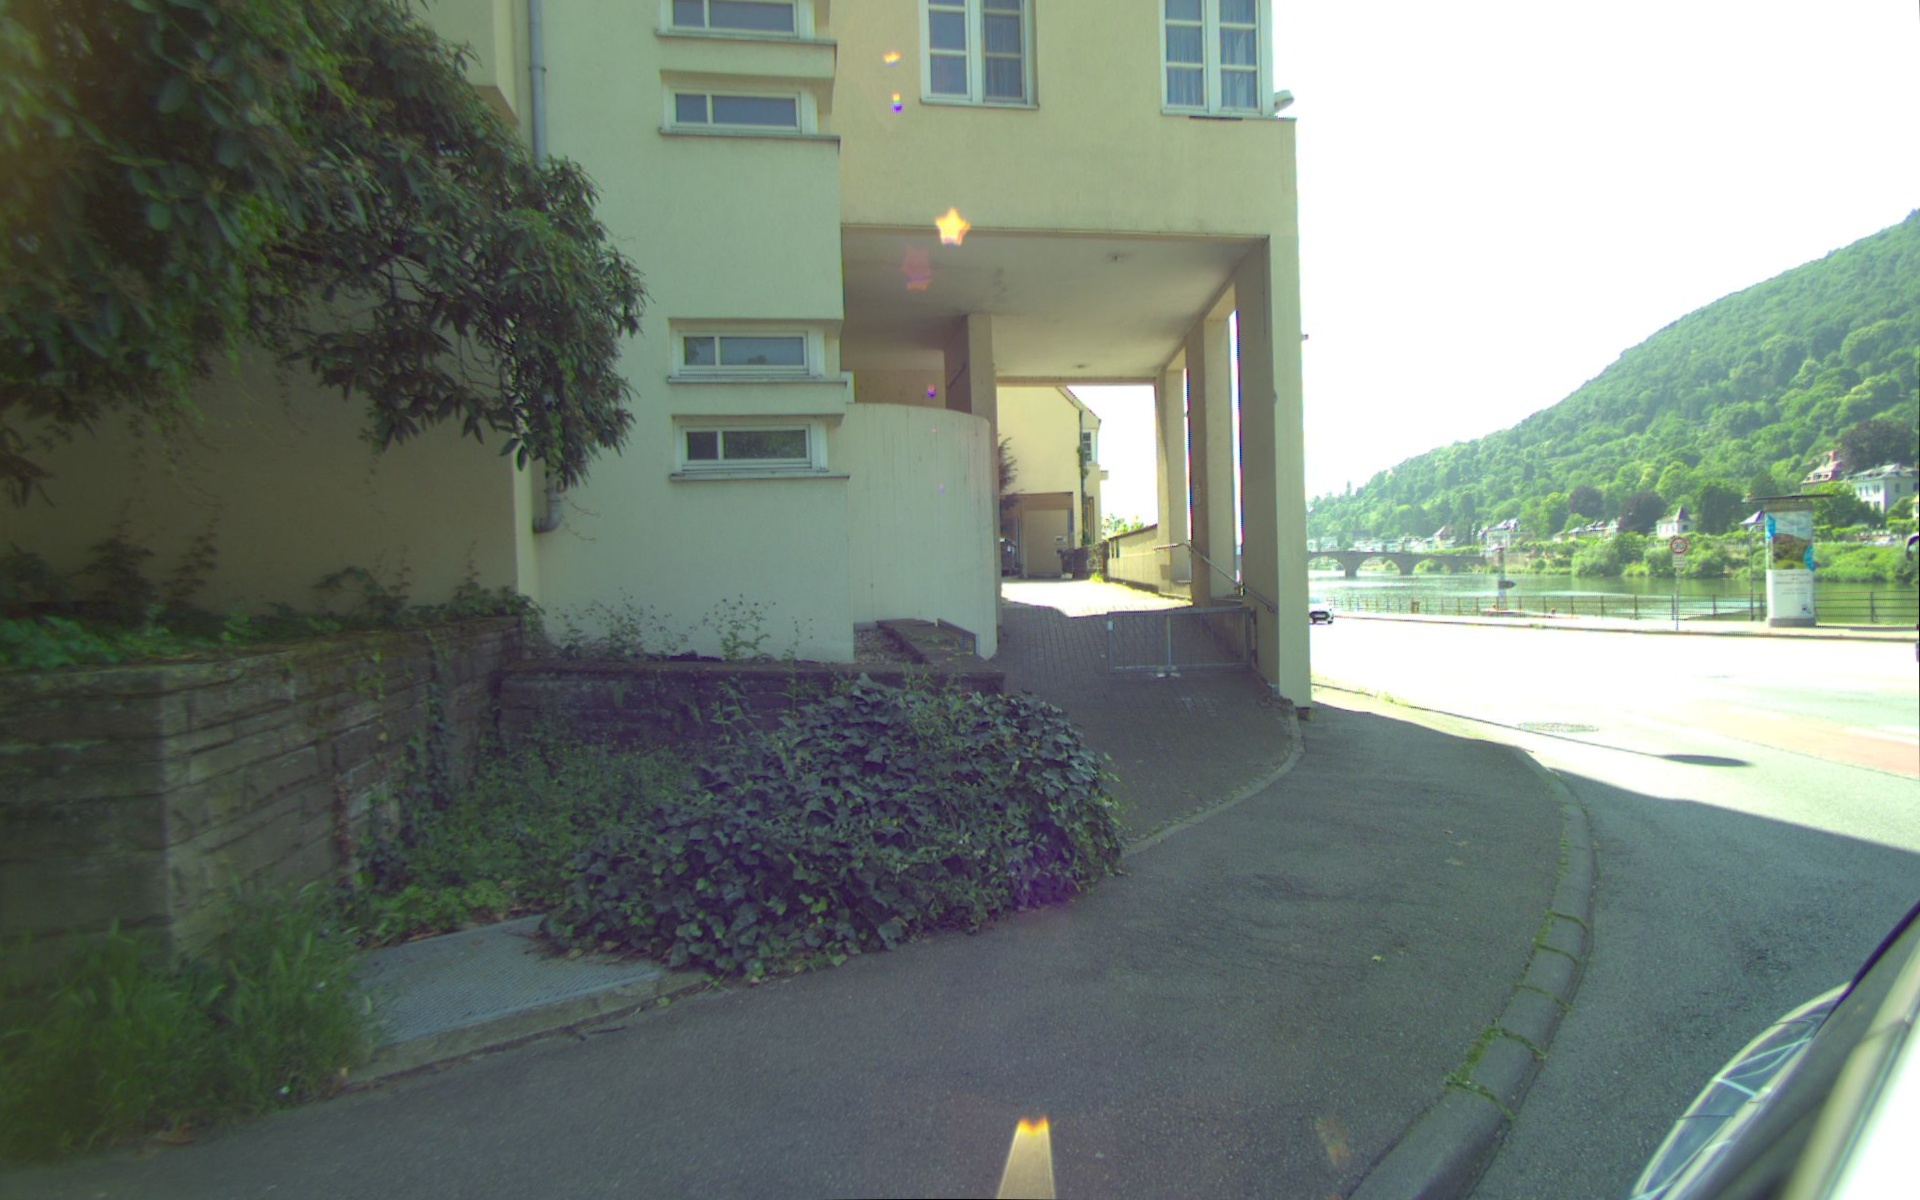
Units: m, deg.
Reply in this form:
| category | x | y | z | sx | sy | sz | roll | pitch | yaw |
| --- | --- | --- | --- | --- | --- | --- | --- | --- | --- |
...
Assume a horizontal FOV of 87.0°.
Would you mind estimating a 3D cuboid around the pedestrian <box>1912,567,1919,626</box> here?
| category | x | y | z | sx | sy | sz | roll | pitch | yaw |
| --- | --- | --- | --- | --- | --- | --- | --- | --- | --- |
| pedestrian | 27.067 | -0.098 | 27.971 | 0.691 | 1.641 | 0.817 | -1 | 0 | -4 |

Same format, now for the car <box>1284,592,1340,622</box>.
| category | x | y | z | sx | sy | sz | roll | pitch | yaw |
| --- | --- | --- | --- | --- | --- | --- | --- | --- | --- |
| car | 17.970 | 0.339 | 51.867 | 1.966 | 1.460 | 3.991 | -1 | 0 | 8 |
